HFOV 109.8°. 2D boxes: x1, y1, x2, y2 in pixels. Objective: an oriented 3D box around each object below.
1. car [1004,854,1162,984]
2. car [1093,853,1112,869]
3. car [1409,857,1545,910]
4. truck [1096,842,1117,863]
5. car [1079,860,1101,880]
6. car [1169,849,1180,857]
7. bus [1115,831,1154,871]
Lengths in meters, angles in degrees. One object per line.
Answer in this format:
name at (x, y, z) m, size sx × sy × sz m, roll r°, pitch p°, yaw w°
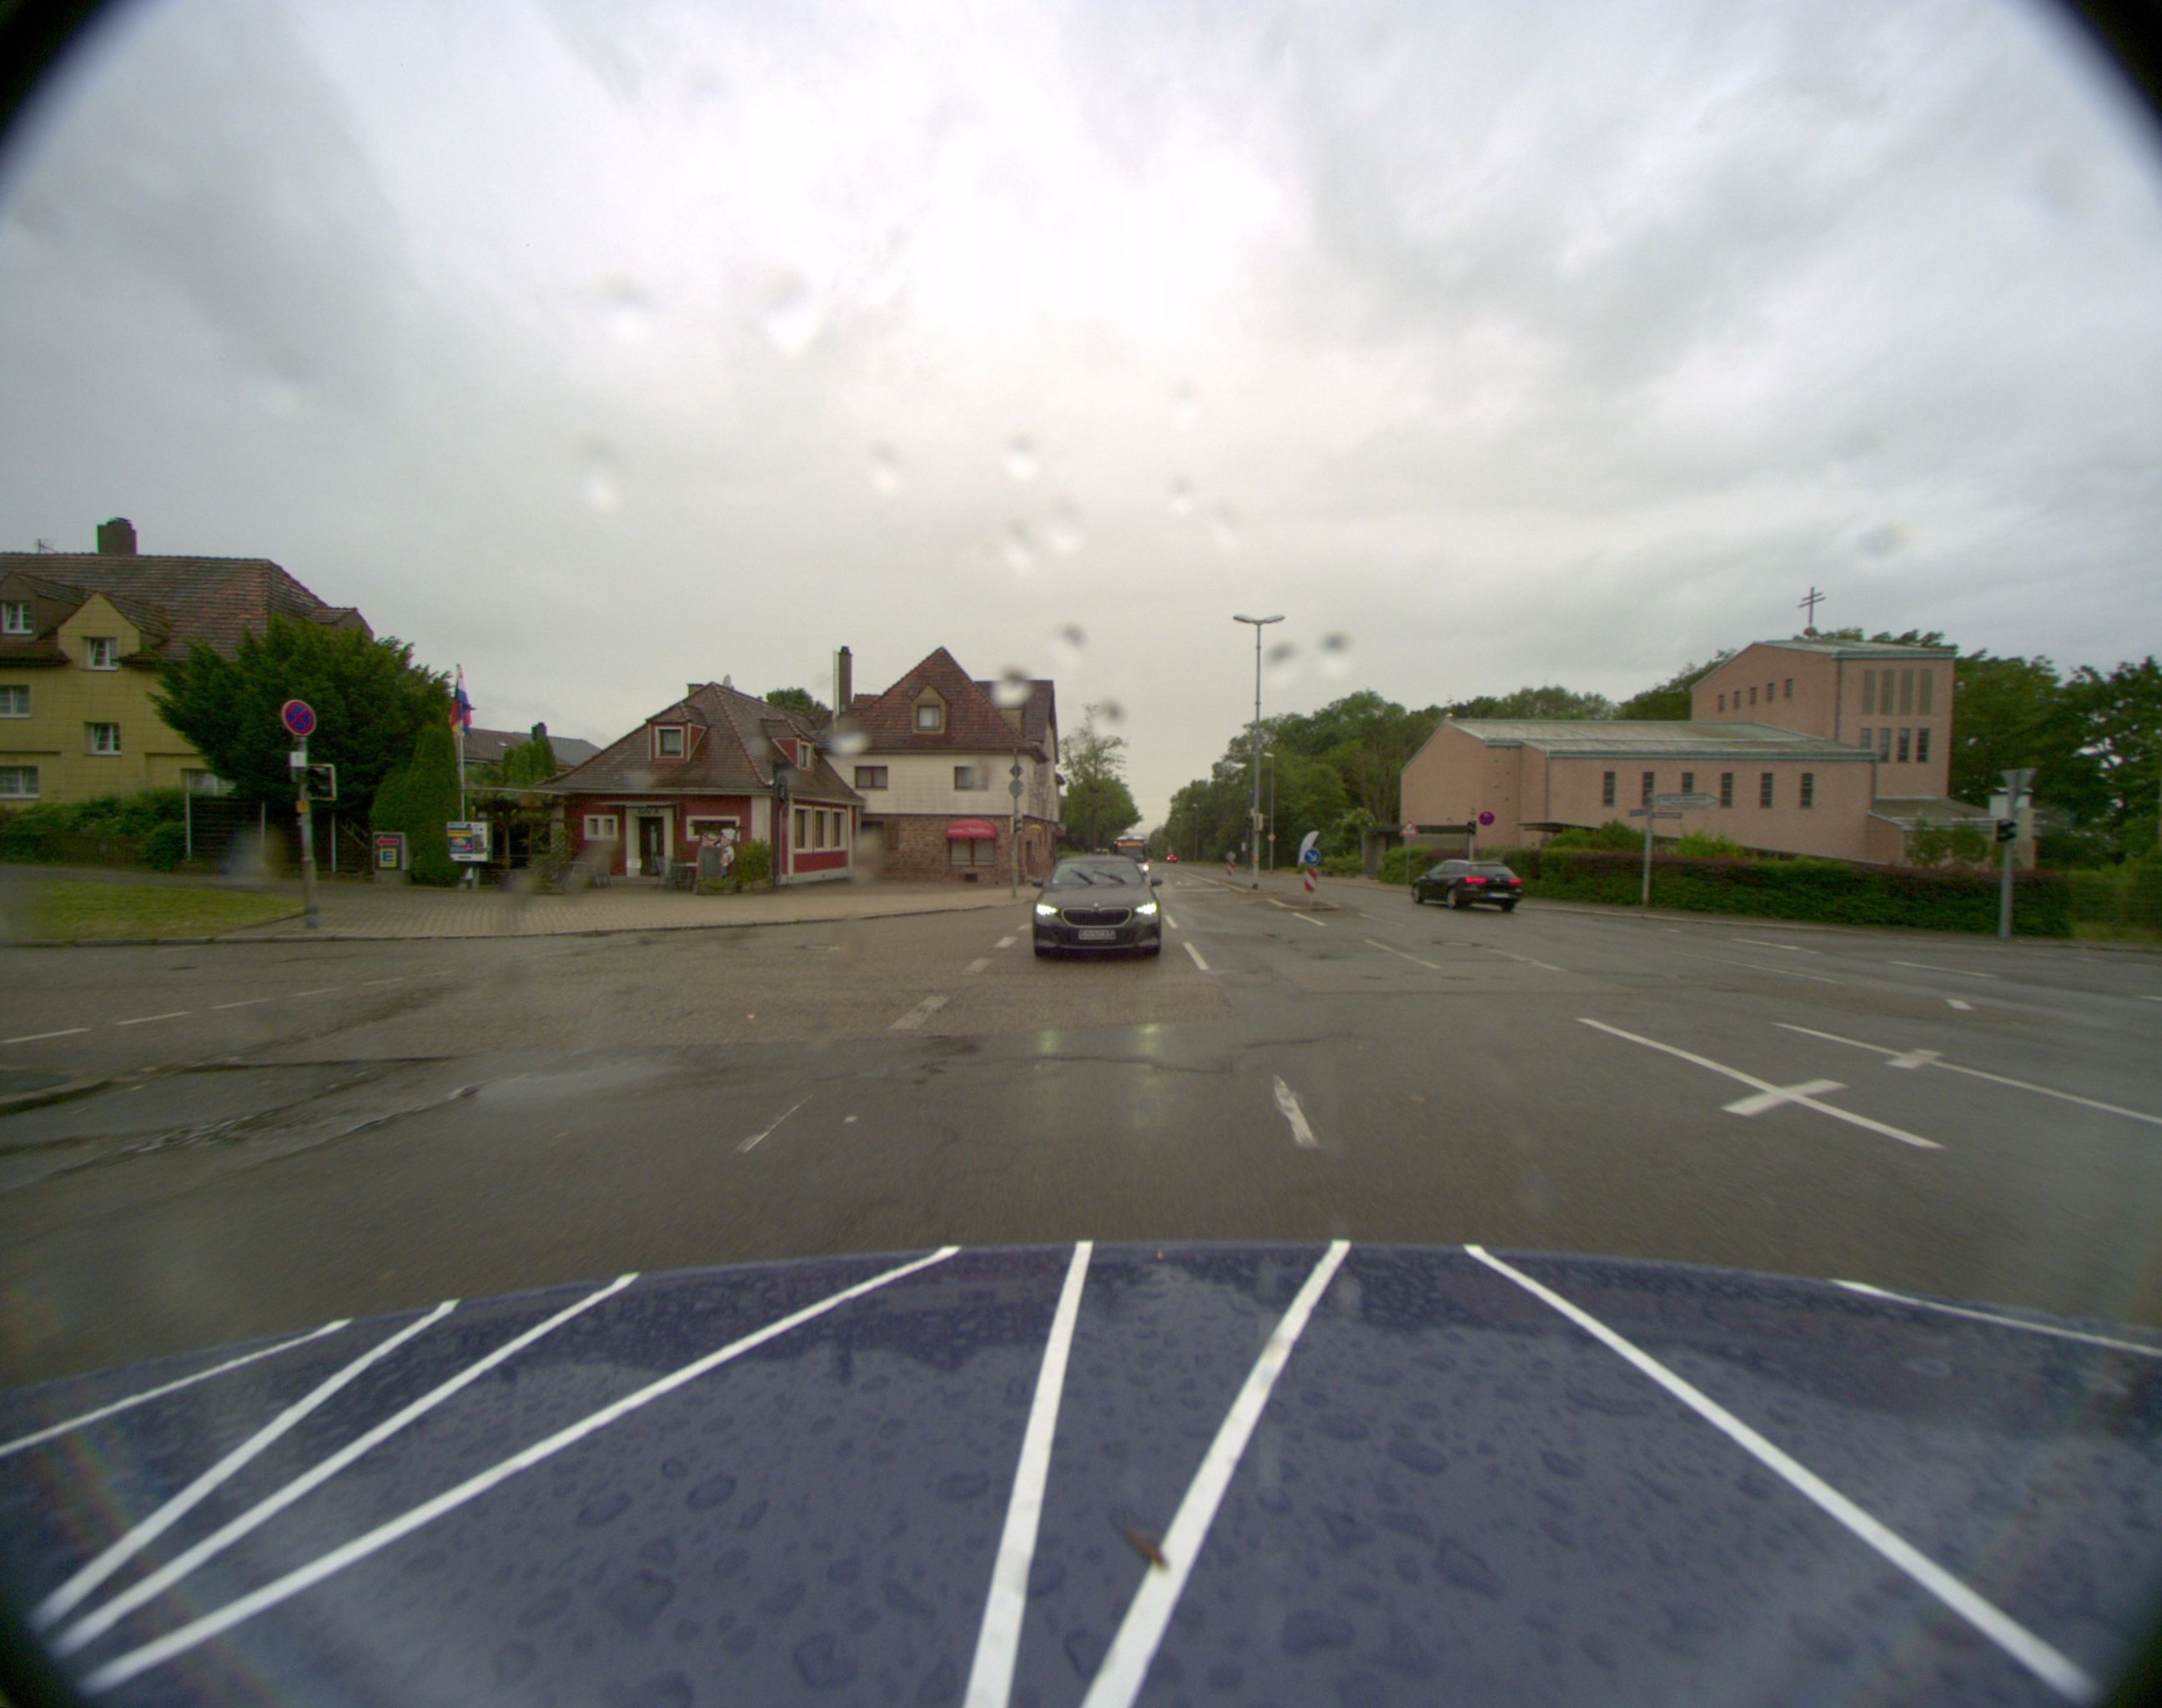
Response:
car at (0.204, 0.804, 11.437) m, size 1.882 × 1.520 × 4.318 m, roll -2°, pitch 0°, yaw 5°
car at (2.149, 0.638, 74.358) m, size 1.719 × 1.455 × 4.000 m, roll 2°, pitch 1°, yaw 3°
car at (11.703, 0.828, 22.837) m, size 1.913 × 1.419 × 4.416 m, roll 1°, pitch 0°, yaw 2°
truck at (2.895, -0.156, 85.635) m, size 1.997 × 2.184 × 5.758 m, roll 1°, pitch 0°, yaw 6°
car at (0.730, 1.227, 58.661) m, size 1.614 × 1.494 × 3.758 m, roll -1°, pitch -1°, yaw 2°
car at (19.557, -0.278, 159.564) m, size 1.913 × 1.581 × 4.318 m, roll 0°, pitch 0°, yaw 2°
bus at (4.339, -0.303, 60.130) m, size 2.766 × 2.858 × 9.406 m, roll -1°, pitch 1°, yaw 6°
